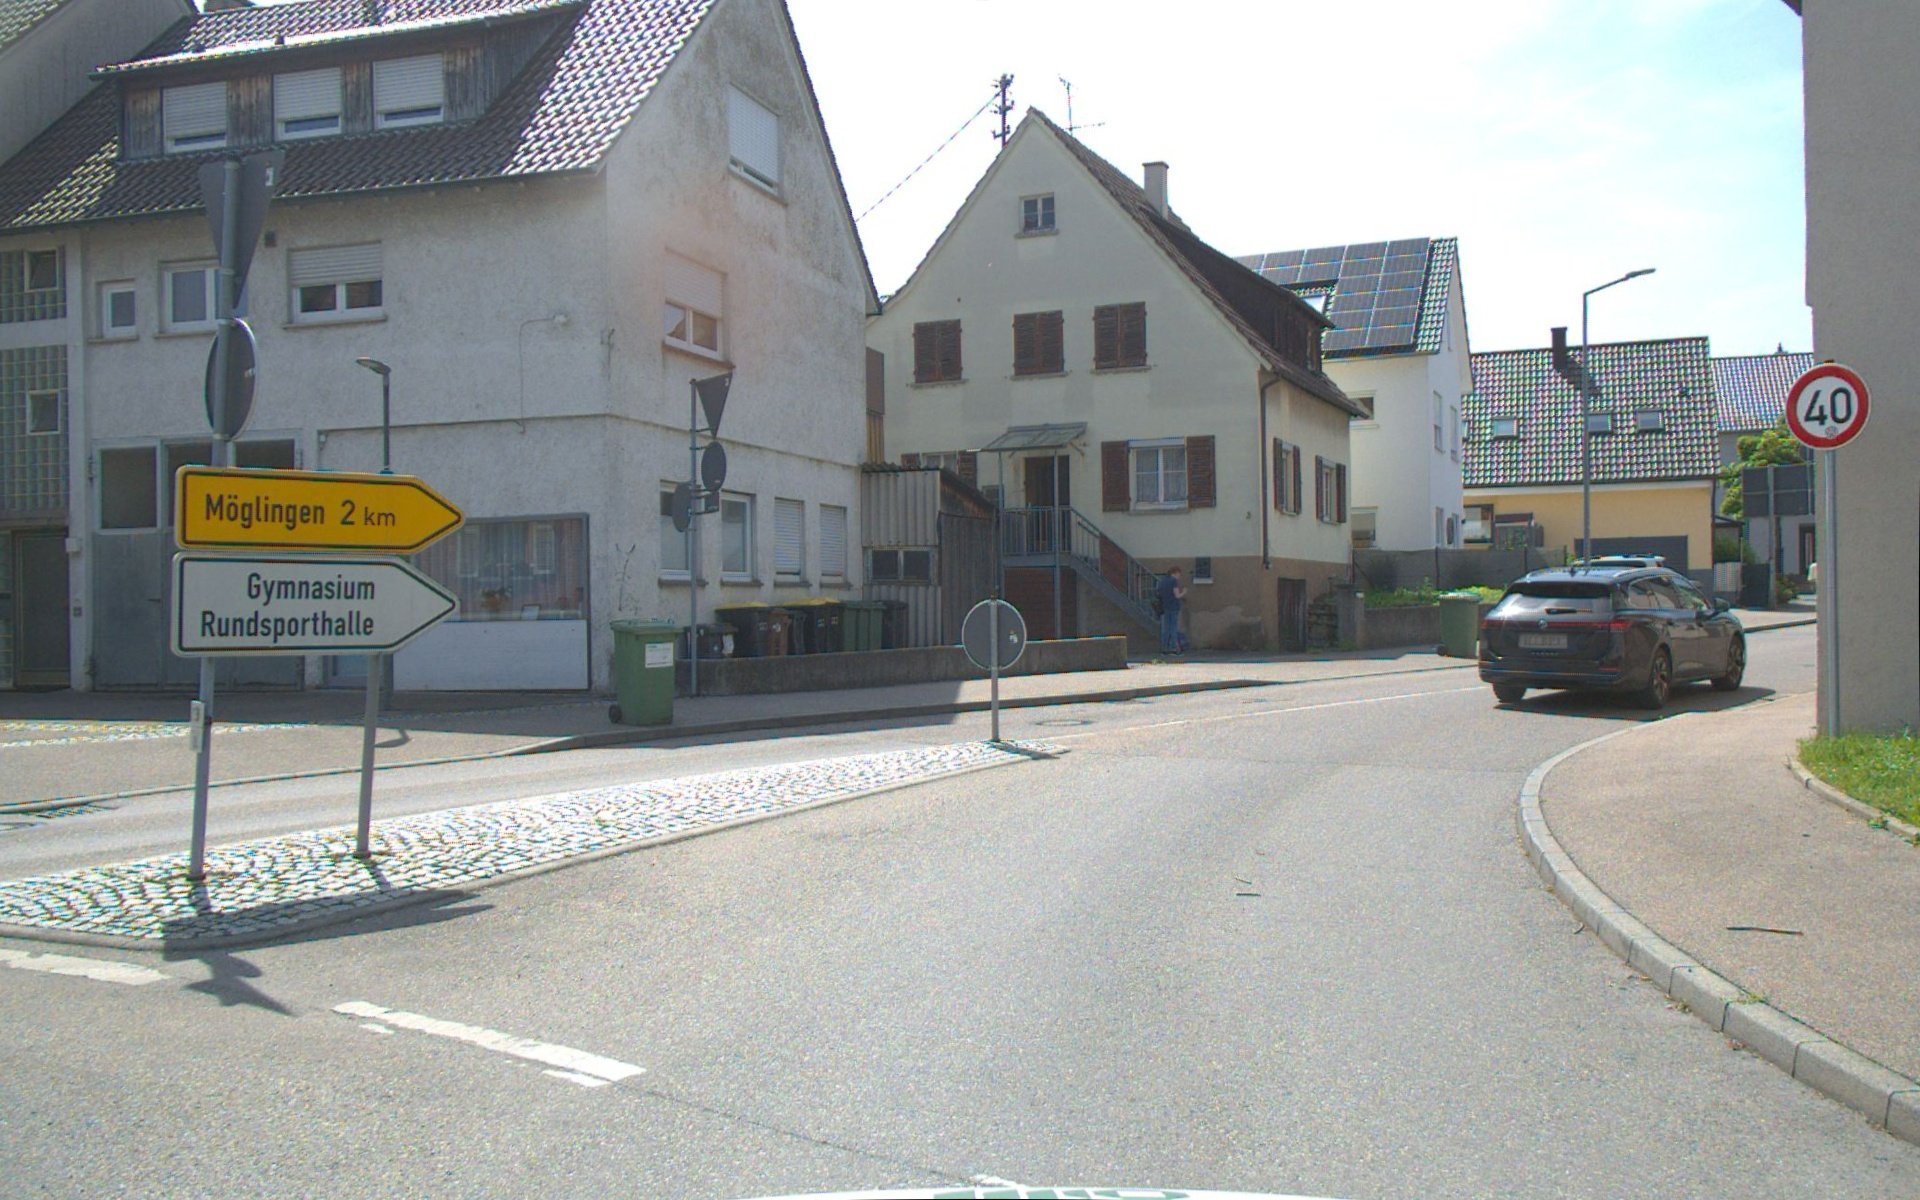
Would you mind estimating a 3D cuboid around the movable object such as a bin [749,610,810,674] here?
[{"bbox_3d":[-2.676,0.620,24.558,0.668,0.912,0.699,0,1,15],"label":"movable object such as a bin"}]

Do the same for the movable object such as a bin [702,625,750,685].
[{"bbox_3d":[-3.203,0.748,22.635,0.475,0.794,0.528,0,1,15],"label":"movable object such as a bin"}]

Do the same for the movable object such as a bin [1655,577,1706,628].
[{"bbox_3d":[15.962,0.056,36.645,0.814,1.096,0.813,0,1,42],"label":"movable object such as a bin"}]

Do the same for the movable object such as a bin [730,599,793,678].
[{"bbox_3d":[-2.858,0.548,23.863,0.668,1.105,0.699,0,1,15],"label":"movable object such as a bin"}]

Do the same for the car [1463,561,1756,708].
[{"bbox_3d":[7.514,0.297,18.849,1.812,1.445,4.660,0,1,39],"label":"car"}]

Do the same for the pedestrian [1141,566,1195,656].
[{"bbox_3d":[3.772,0.185,29.958,0.763,1.601,0.626,0,1,33],"label":"pedestrian"}]

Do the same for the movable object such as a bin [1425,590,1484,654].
[{"bbox_3d":[8.587,0.372,28.722,0.778,1.076,0.648,-1,1,39],"label":"movable object such as a bin"}]

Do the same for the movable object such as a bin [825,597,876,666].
[{"bbox_3d":[-1.782,0.501,27.002,0.664,1.101,0.584,0,1,15],"label":"movable object such as a bin"}]

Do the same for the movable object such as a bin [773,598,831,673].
[{"bbox_3d":[-2.405,0.536,25.241,0.668,1.101,0.699,0,1,15],"label":"movable object such as a bin"}]

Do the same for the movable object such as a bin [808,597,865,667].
[{"bbox_3d":[-1.971,0.505,26.405,0.723,1.101,0.661,0,1,15],"label":"movable object such as a bin"}]

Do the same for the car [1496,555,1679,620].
[{"bbox_3d":[16.748,-0.319,44.160,4.319,1.651,1.997,-1,0,30],"label":"car"}]

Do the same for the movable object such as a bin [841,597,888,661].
[{"bbox_3d":[-1.602,0.483,27.697,0.614,1.053,0.604,0,1,15],"label":"movable object such as a bin"}]

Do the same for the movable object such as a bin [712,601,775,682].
[{"bbox_3d":[-3.033,0.577,23.203,0.668,1.105,0.645,0,1,15],"label":"movable object such as a bin"}]

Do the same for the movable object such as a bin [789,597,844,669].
[{"bbox_3d":[-2.239,0.515,25.905,0.668,1.101,0.626,0,1,15],"label":"movable object such as a bin"}]

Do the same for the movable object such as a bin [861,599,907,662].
[{"bbox_3d":[-1.296,0.515,28.251,0.615,1.052,0.613,0,1,15],"label":"movable object such as a bin"}]

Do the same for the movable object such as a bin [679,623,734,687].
[{"bbox_3d":[-3.376,0.730,22.062,0.475,0.819,0.647,0,1,17],"label":"movable object such as a bin"}]

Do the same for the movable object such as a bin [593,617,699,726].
[{"bbox_3d":[-3.296,0.732,17.341,0.818,1.063,0.800,-2,1,-38],"label":"movable object such as a bin"}]
